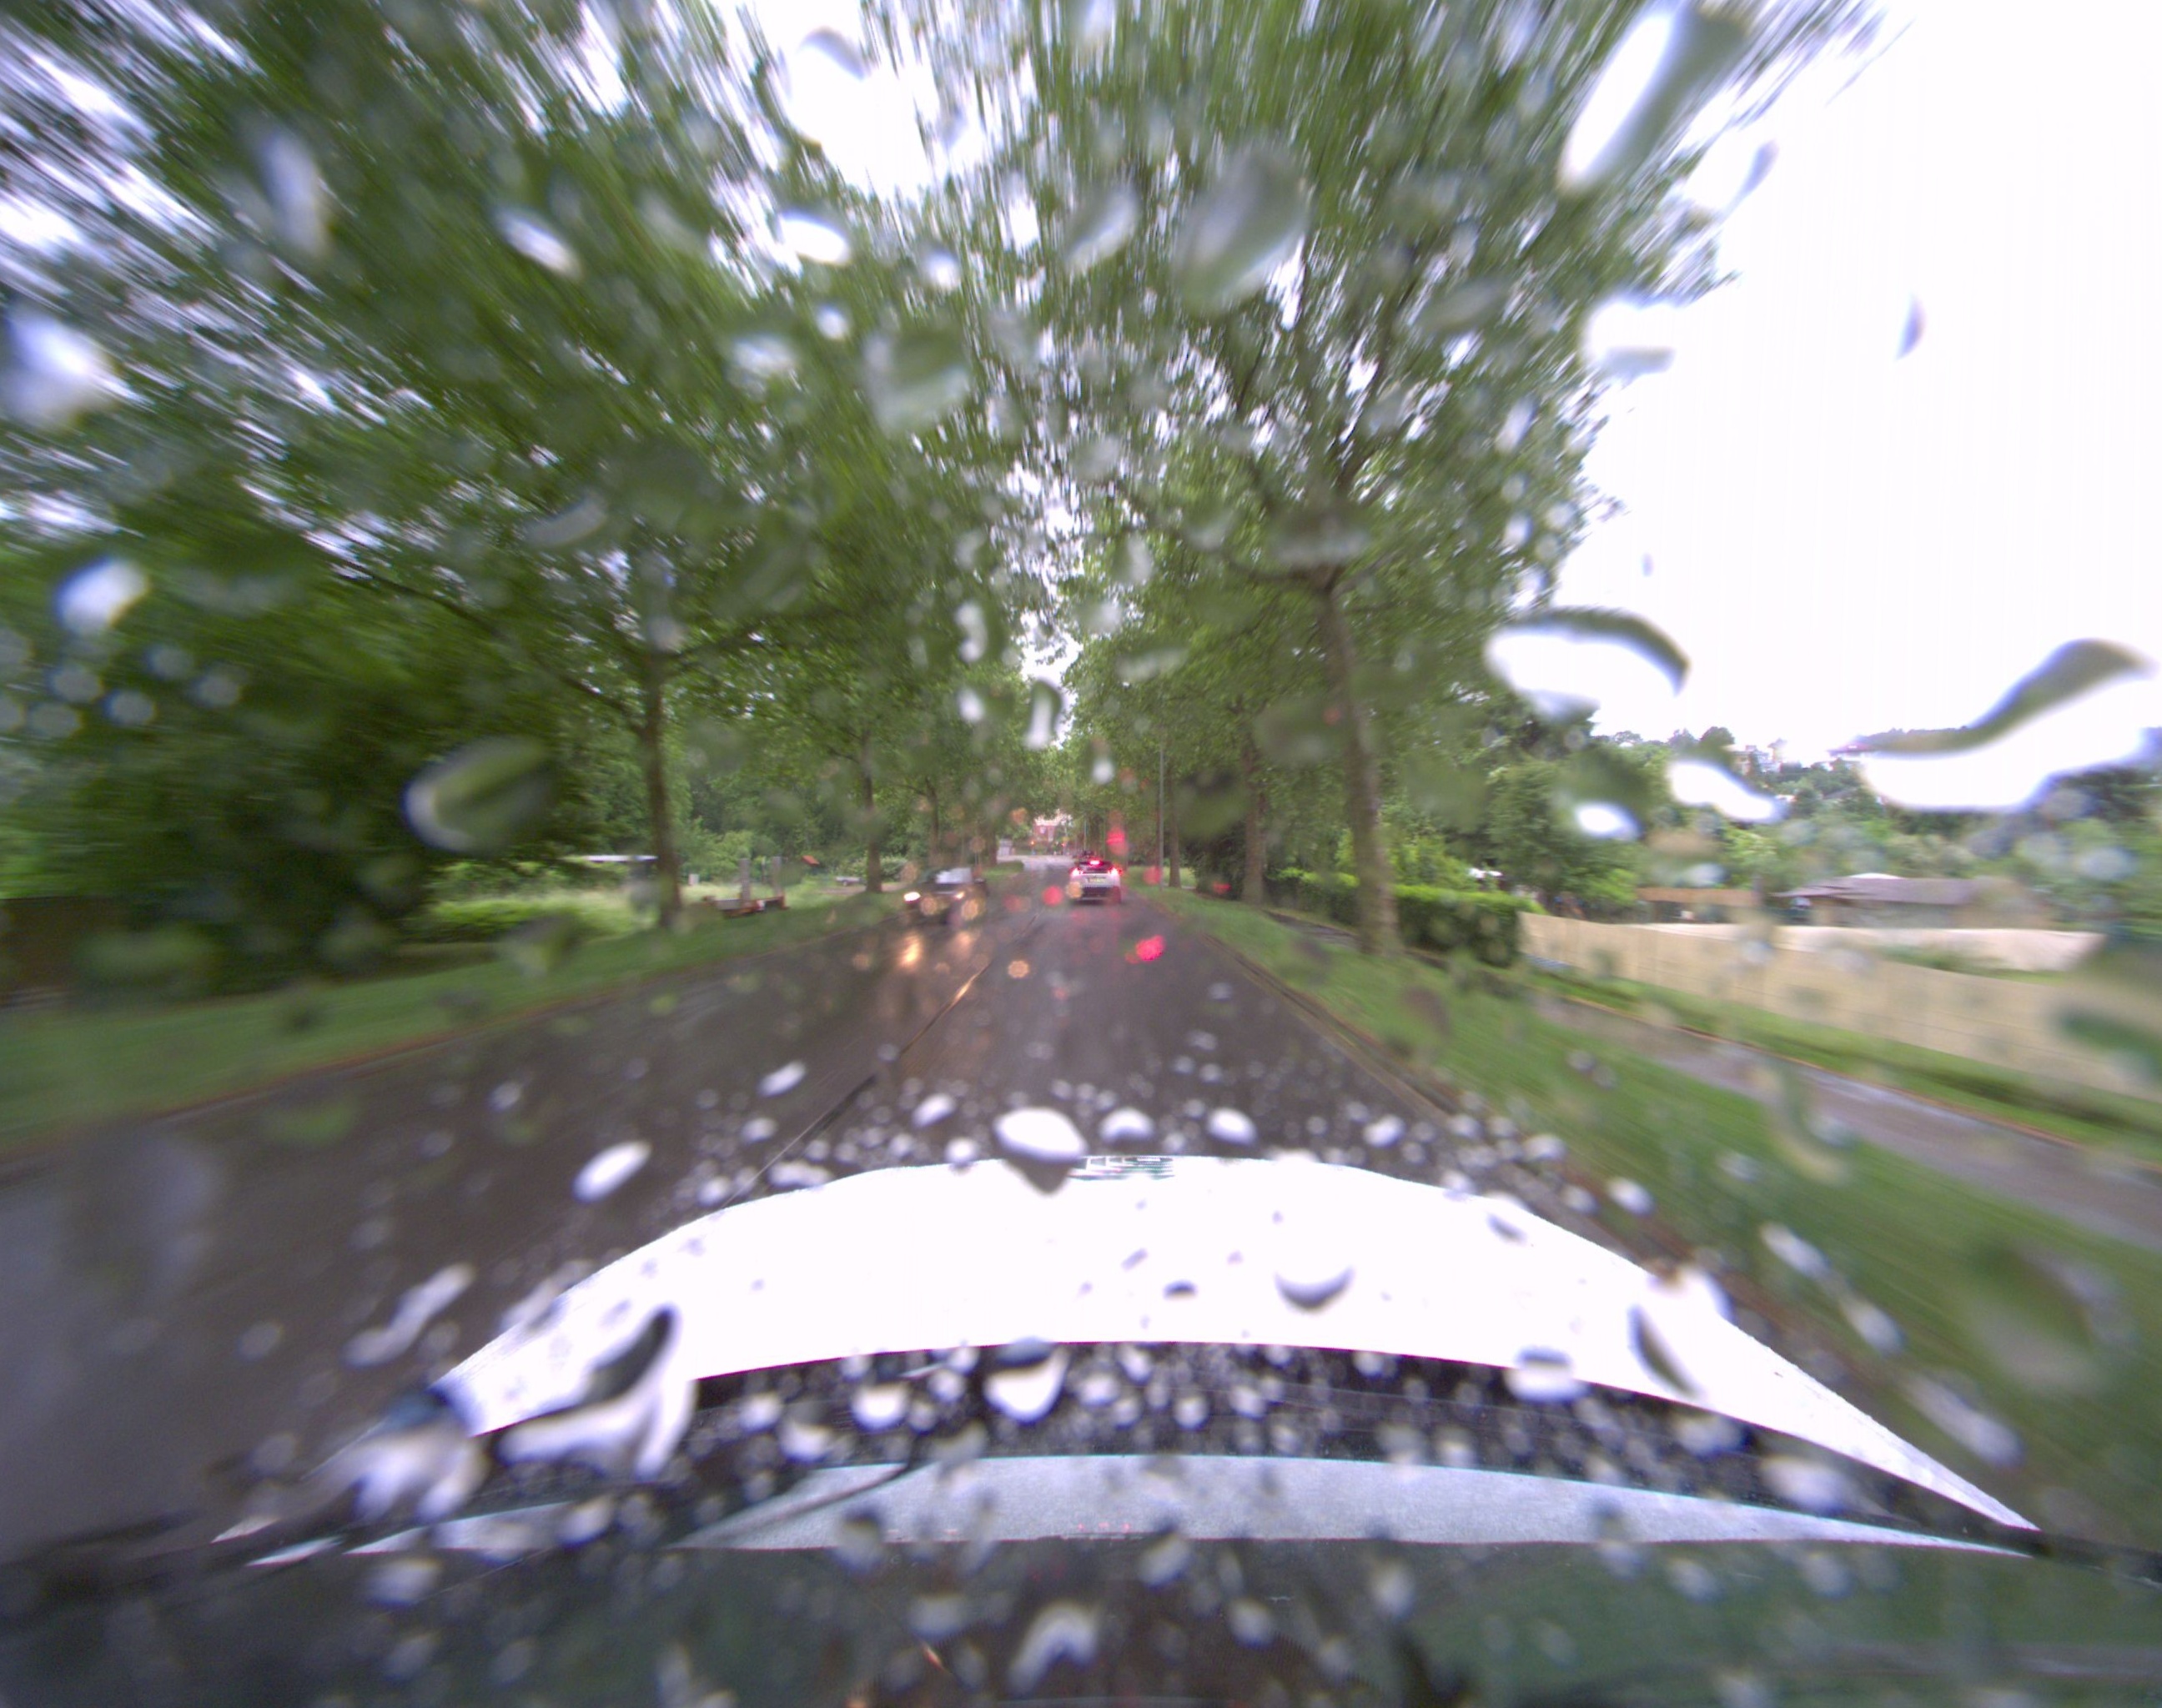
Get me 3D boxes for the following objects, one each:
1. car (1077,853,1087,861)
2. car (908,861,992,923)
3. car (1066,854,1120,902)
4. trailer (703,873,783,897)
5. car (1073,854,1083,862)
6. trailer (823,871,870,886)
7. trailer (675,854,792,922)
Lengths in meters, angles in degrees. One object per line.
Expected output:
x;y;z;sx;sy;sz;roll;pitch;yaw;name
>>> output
0.233;0.569;160.450;1.820;1.596;3.656;1;0;2;car
-3.360;0.927;21.541;1.702;1.486;3.878;1;-1;-2;car
0.448;0.804;29.141;1.787;1.578;3.845;0;0;1;car
-21.253;1.936;51.300;4.229;1.376;1.995;-1;0;-7;trailer
-0.580;0.783;170.209;1.820;1.596;3.656;1;0;2;car
-20.113;2.104;69.934;3.550;1.178;1.818;-1;0;-7;trailer
-14.254;1.311;33.889;2.476;2.567;5.332;1;0;1;trailer
